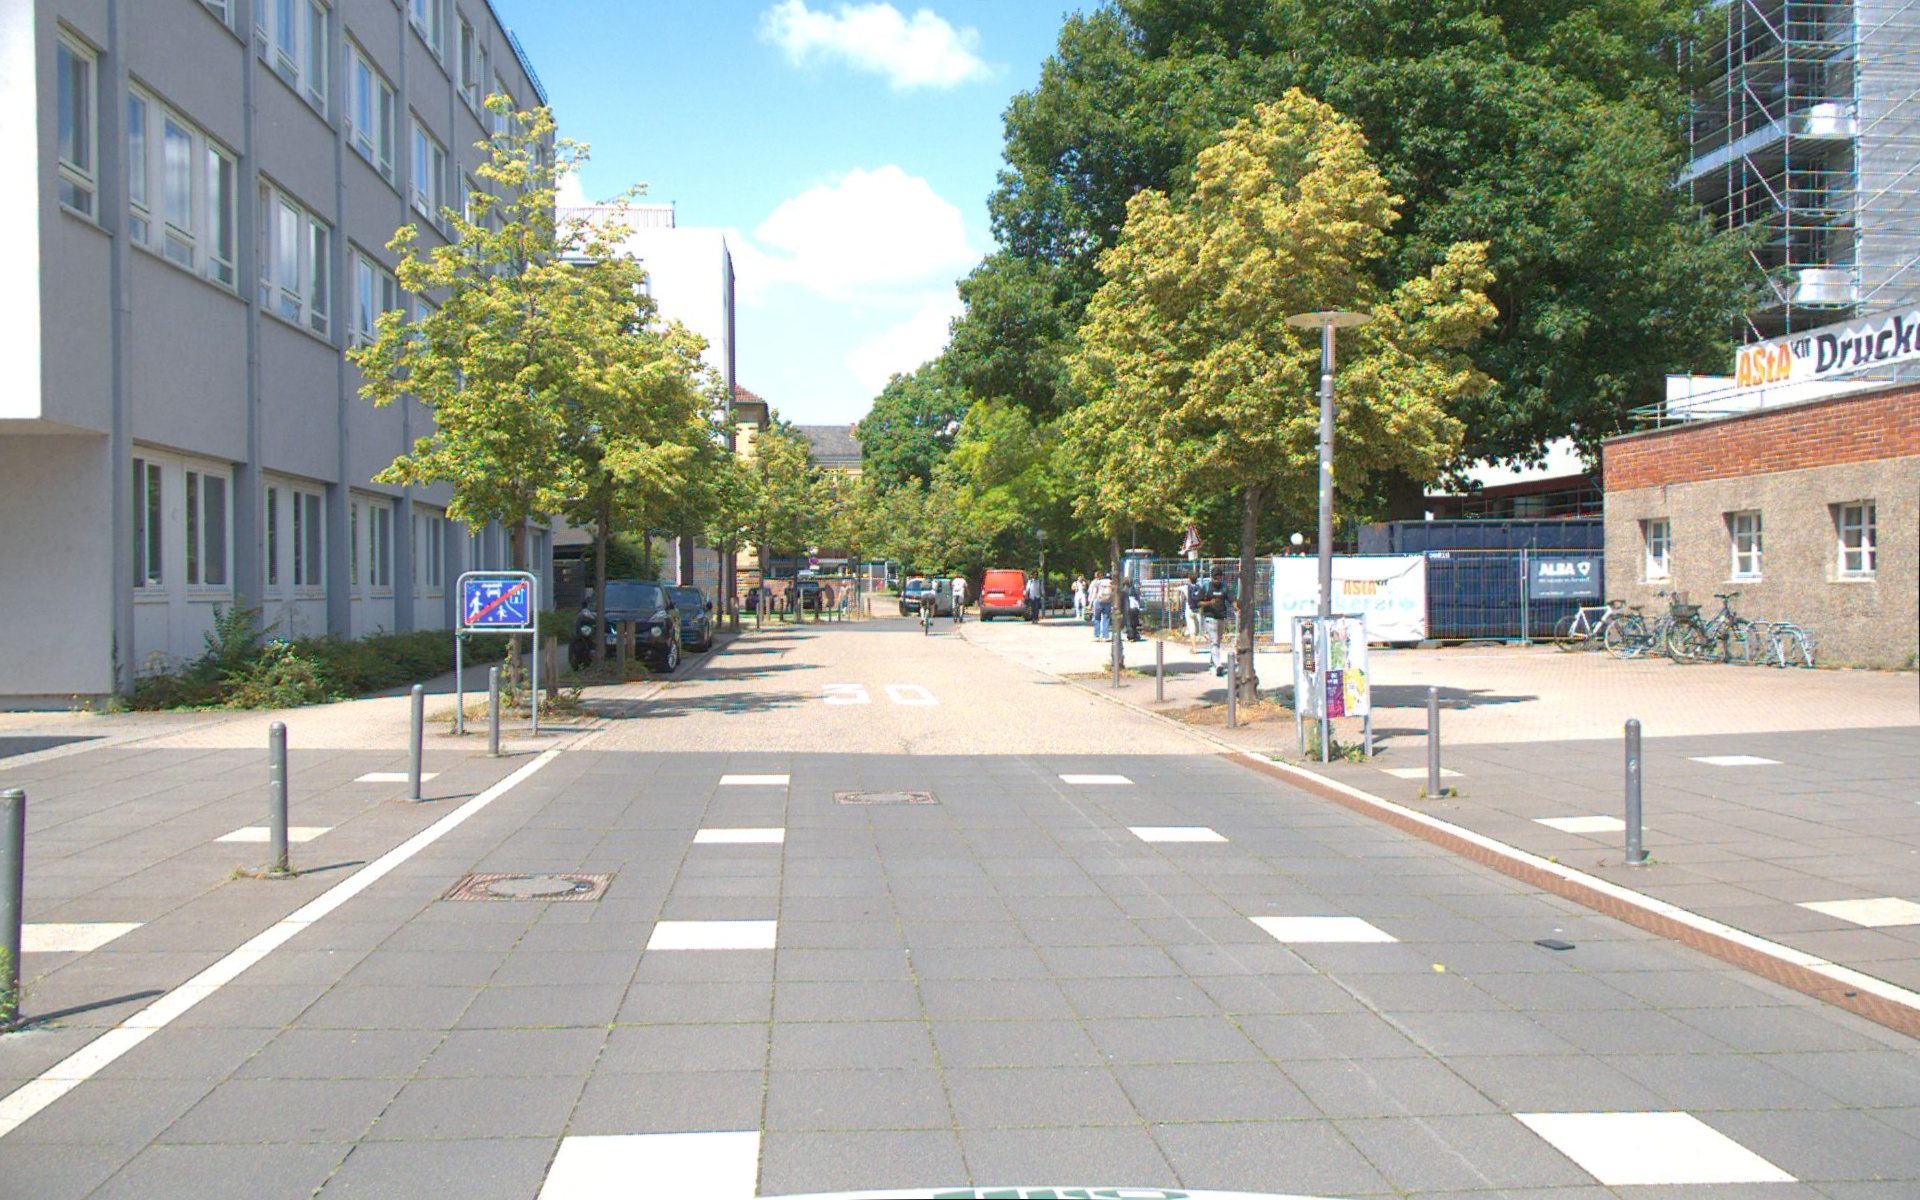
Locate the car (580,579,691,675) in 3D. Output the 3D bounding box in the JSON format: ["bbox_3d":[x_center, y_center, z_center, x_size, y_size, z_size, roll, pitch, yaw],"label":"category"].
[{"bbox_3d":[-5.784,0.433,29.848,1.664,1.591,4.062,-1,1,-7],"label":"car"}]

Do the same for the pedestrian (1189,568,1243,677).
[{"bbox_3d":[4.136,0.350,26.766,0.630,1.726,0.790,-1,0,-11],"label":"pedestrian"}]

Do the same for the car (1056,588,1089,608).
[{"bbox_3d":[8.132,-0.150,119.371,1.581,1.412,4.003,-1,0,15],"label":"car"}]

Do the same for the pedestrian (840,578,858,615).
[{"bbox_3d":[-5.406,-0.160,80.279,0.571,1.795,0.912,-1,0,17],"label":"pedestrian"}]

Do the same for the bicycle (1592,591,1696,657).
[{"bbox_3d":[12.034,0.412,29.101,1.668,1.129,0.447,-1,0,-5],"label":"bicycle"}]

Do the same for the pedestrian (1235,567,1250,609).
[{"bbox_3d":[12.567,-0.531,73.577,0.532,1.869,0.762,-1,0,2],"label":"pedestrian"}]

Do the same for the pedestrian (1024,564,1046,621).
[{"bbox_3d":[2.421,-0.240,53.434,0.680,1.812,0.787,-1,0,4],"label":"pedestrian"}]

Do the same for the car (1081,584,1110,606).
[{"bbox_3d":[10.473,-0.393,127.743,1.581,1.708,4.003,-1,0,15],"label":"car"}]

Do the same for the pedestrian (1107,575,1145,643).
[{"bbox_3d":[4.073,0.214,40.605,0.656,1.628,0.983,-1,0,-10],"label":"pedestrian"}]

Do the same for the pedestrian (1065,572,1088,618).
[{"bbox_3d":[4.738,-0.207,67.407,0.717,1.853,0.620,-1,0,-41],"label":"pedestrian"}]

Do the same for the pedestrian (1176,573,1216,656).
[{"bbox_3d":[4.910,0.300,34.422,0.636,1.695,0.904,-1,0,-4],"label":"pedestrian"}]

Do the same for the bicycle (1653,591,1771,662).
[{"bbox_3d":[12.299,0.422,27.061,1.771,1.129,0.447,-1,0,-5],"label":"bicycle"}]

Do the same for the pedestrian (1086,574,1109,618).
[{"bbox_3d":[5.517,-0.166,66.585,0.739,1.740,0.555,-1,0,-41],"label":"pedestrian"}]

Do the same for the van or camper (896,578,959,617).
[{"bbox_3d":[-1.654,-0.174,86.262,1.912,1.957,5.424,1,1,14],"label":"van or camper"}]

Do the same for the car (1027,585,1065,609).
[{"bbox_3d":[5.872,-0.208,112.068,1.722,1.548,4.114,-1,0,15],"label":"car"}]

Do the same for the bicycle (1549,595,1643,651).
[{"bbox_3d":[12.105,0.436,31.472,1.639,1.021,0.447,-1,0,-5],"label":"bicycle"}]

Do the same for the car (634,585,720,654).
[{"bbox_3d":[-6.447,0.405,38.048,1.744,1.486,4.252,1,0,-7],"label":"car"}]

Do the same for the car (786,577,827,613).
[{"bbox_3d":[-8.730,-0.274,94.001,2.134,1.959,5.178,-1,0,-7],"label":"car"}]

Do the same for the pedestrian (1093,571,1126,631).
[{"bbox_3d":[4.151,0.025,45.909,0.699,1.660,0.711,-1,0,27],"label":"pedestrian"}]

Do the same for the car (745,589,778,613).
[{"bbox_3d":[-11.244,0.043,93.714,1.782,1.347,3.763,-1,0,-6],"label":"car"}]

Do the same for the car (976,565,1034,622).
[{"bbox_3d":[1.656,-0.241,59.796,1.809,1.924,4.893,-1,0,4],"label":"car"}]

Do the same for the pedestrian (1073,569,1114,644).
[{"bbox_3d":[3.282,0.155,40.580,0.834,1.794,0.714,-1,0,-8],"label":"pedestrian"}]
